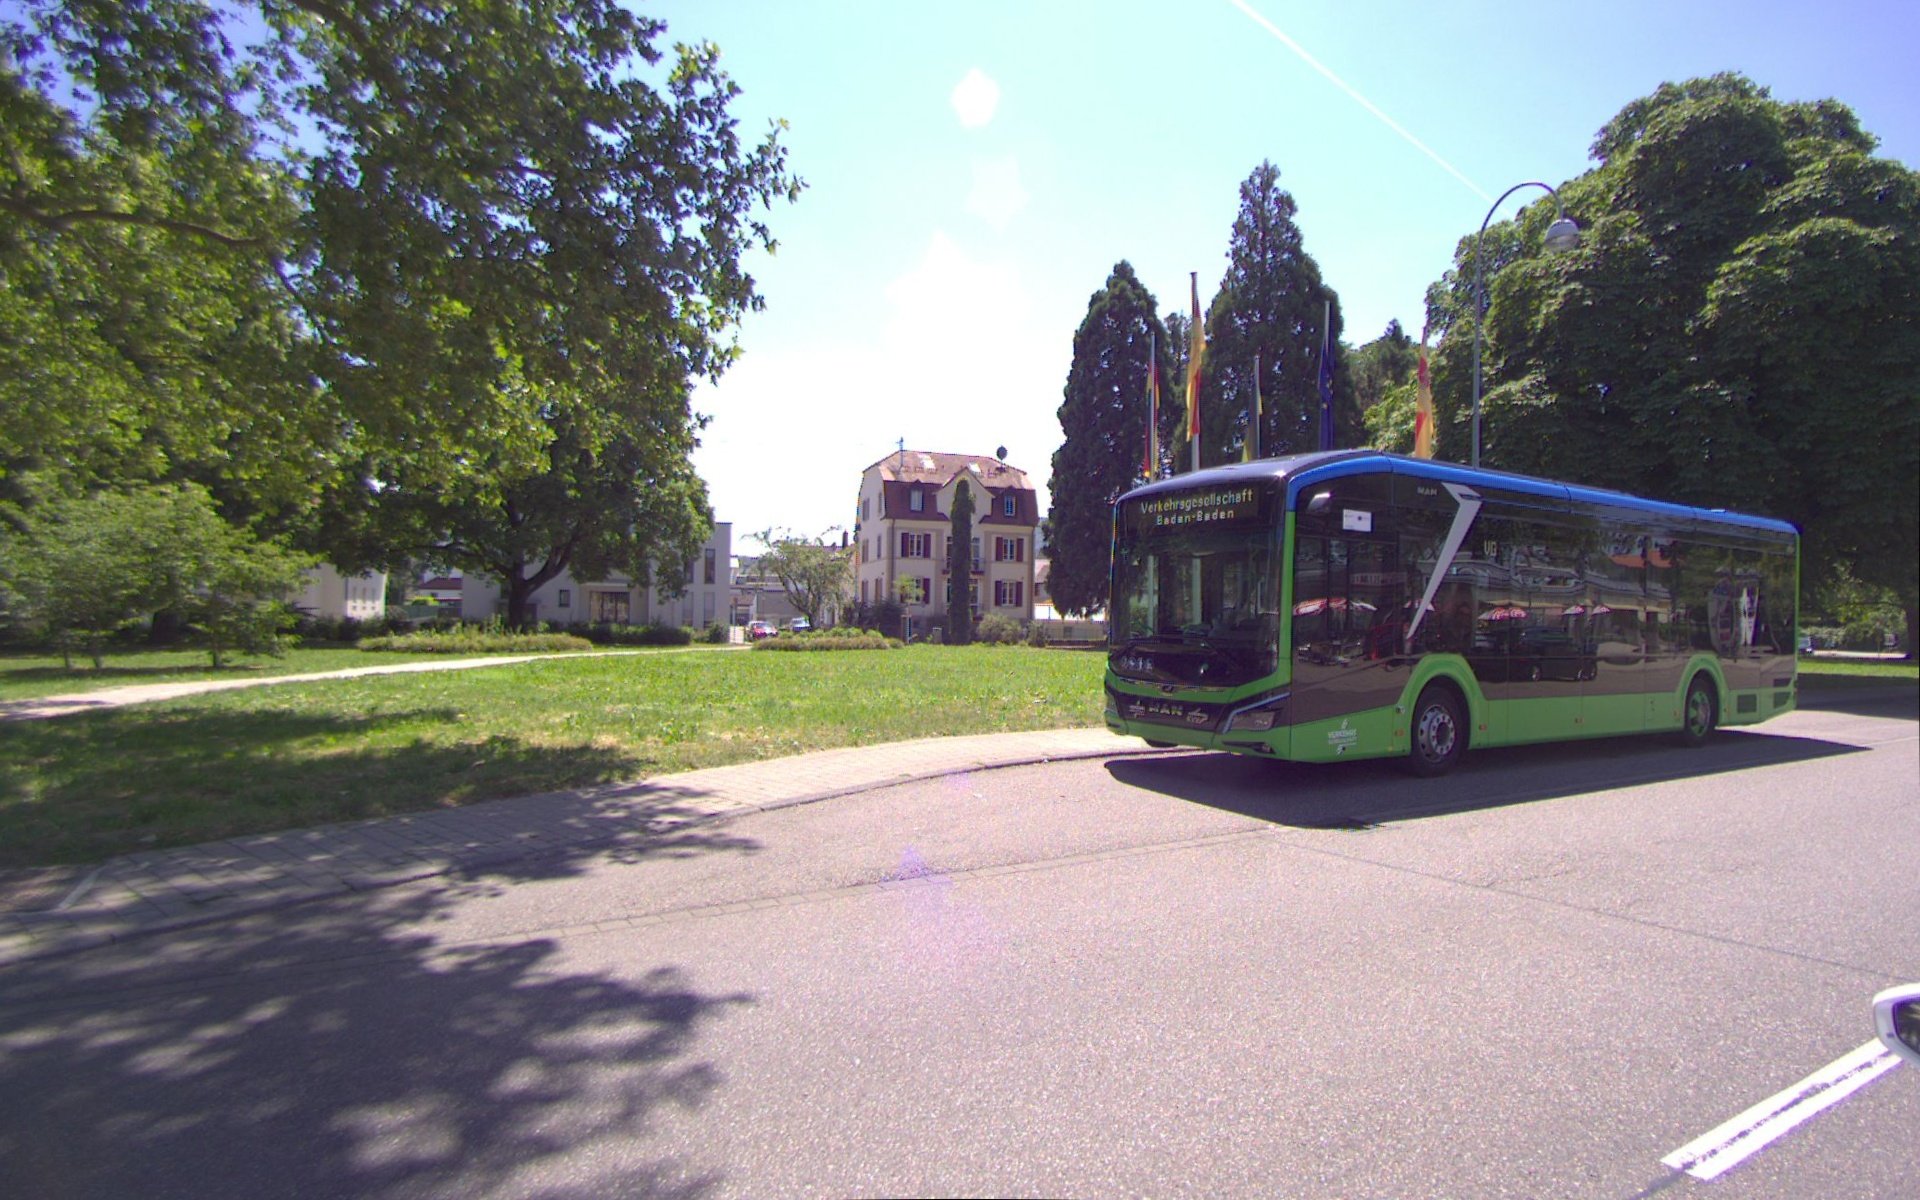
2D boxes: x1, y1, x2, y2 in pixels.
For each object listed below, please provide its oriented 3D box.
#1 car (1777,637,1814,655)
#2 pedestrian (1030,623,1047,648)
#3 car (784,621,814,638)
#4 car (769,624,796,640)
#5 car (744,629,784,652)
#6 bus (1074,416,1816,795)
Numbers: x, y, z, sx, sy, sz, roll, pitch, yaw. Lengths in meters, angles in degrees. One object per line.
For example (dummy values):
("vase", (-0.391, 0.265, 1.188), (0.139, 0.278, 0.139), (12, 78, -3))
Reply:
("car", (70.857, 3.901, 85.148), (3.766, 1.429, 1.540), (2, -1, -36))
("pedestrian", (4.604, 2.081, 59.005), (0.811, 1.389, 0.618), (3, 1, 18))
("car", (-15.694, 2.905, 97.782), (1.972, 1.604, 3.977), (3, -3, -24))
("car", (-18.885, 3.453, 106.699), (1.972, 1.604, 3.977), (3, -3, -24))
("car", (-14.070, 2.895, 71.972), (1.972, 1.604, 3.977), (3, -3, -24))
("bus", (7.201, 0.184, 13.301), (12.288, 3.326, 2.793), (1, -1, -32))
